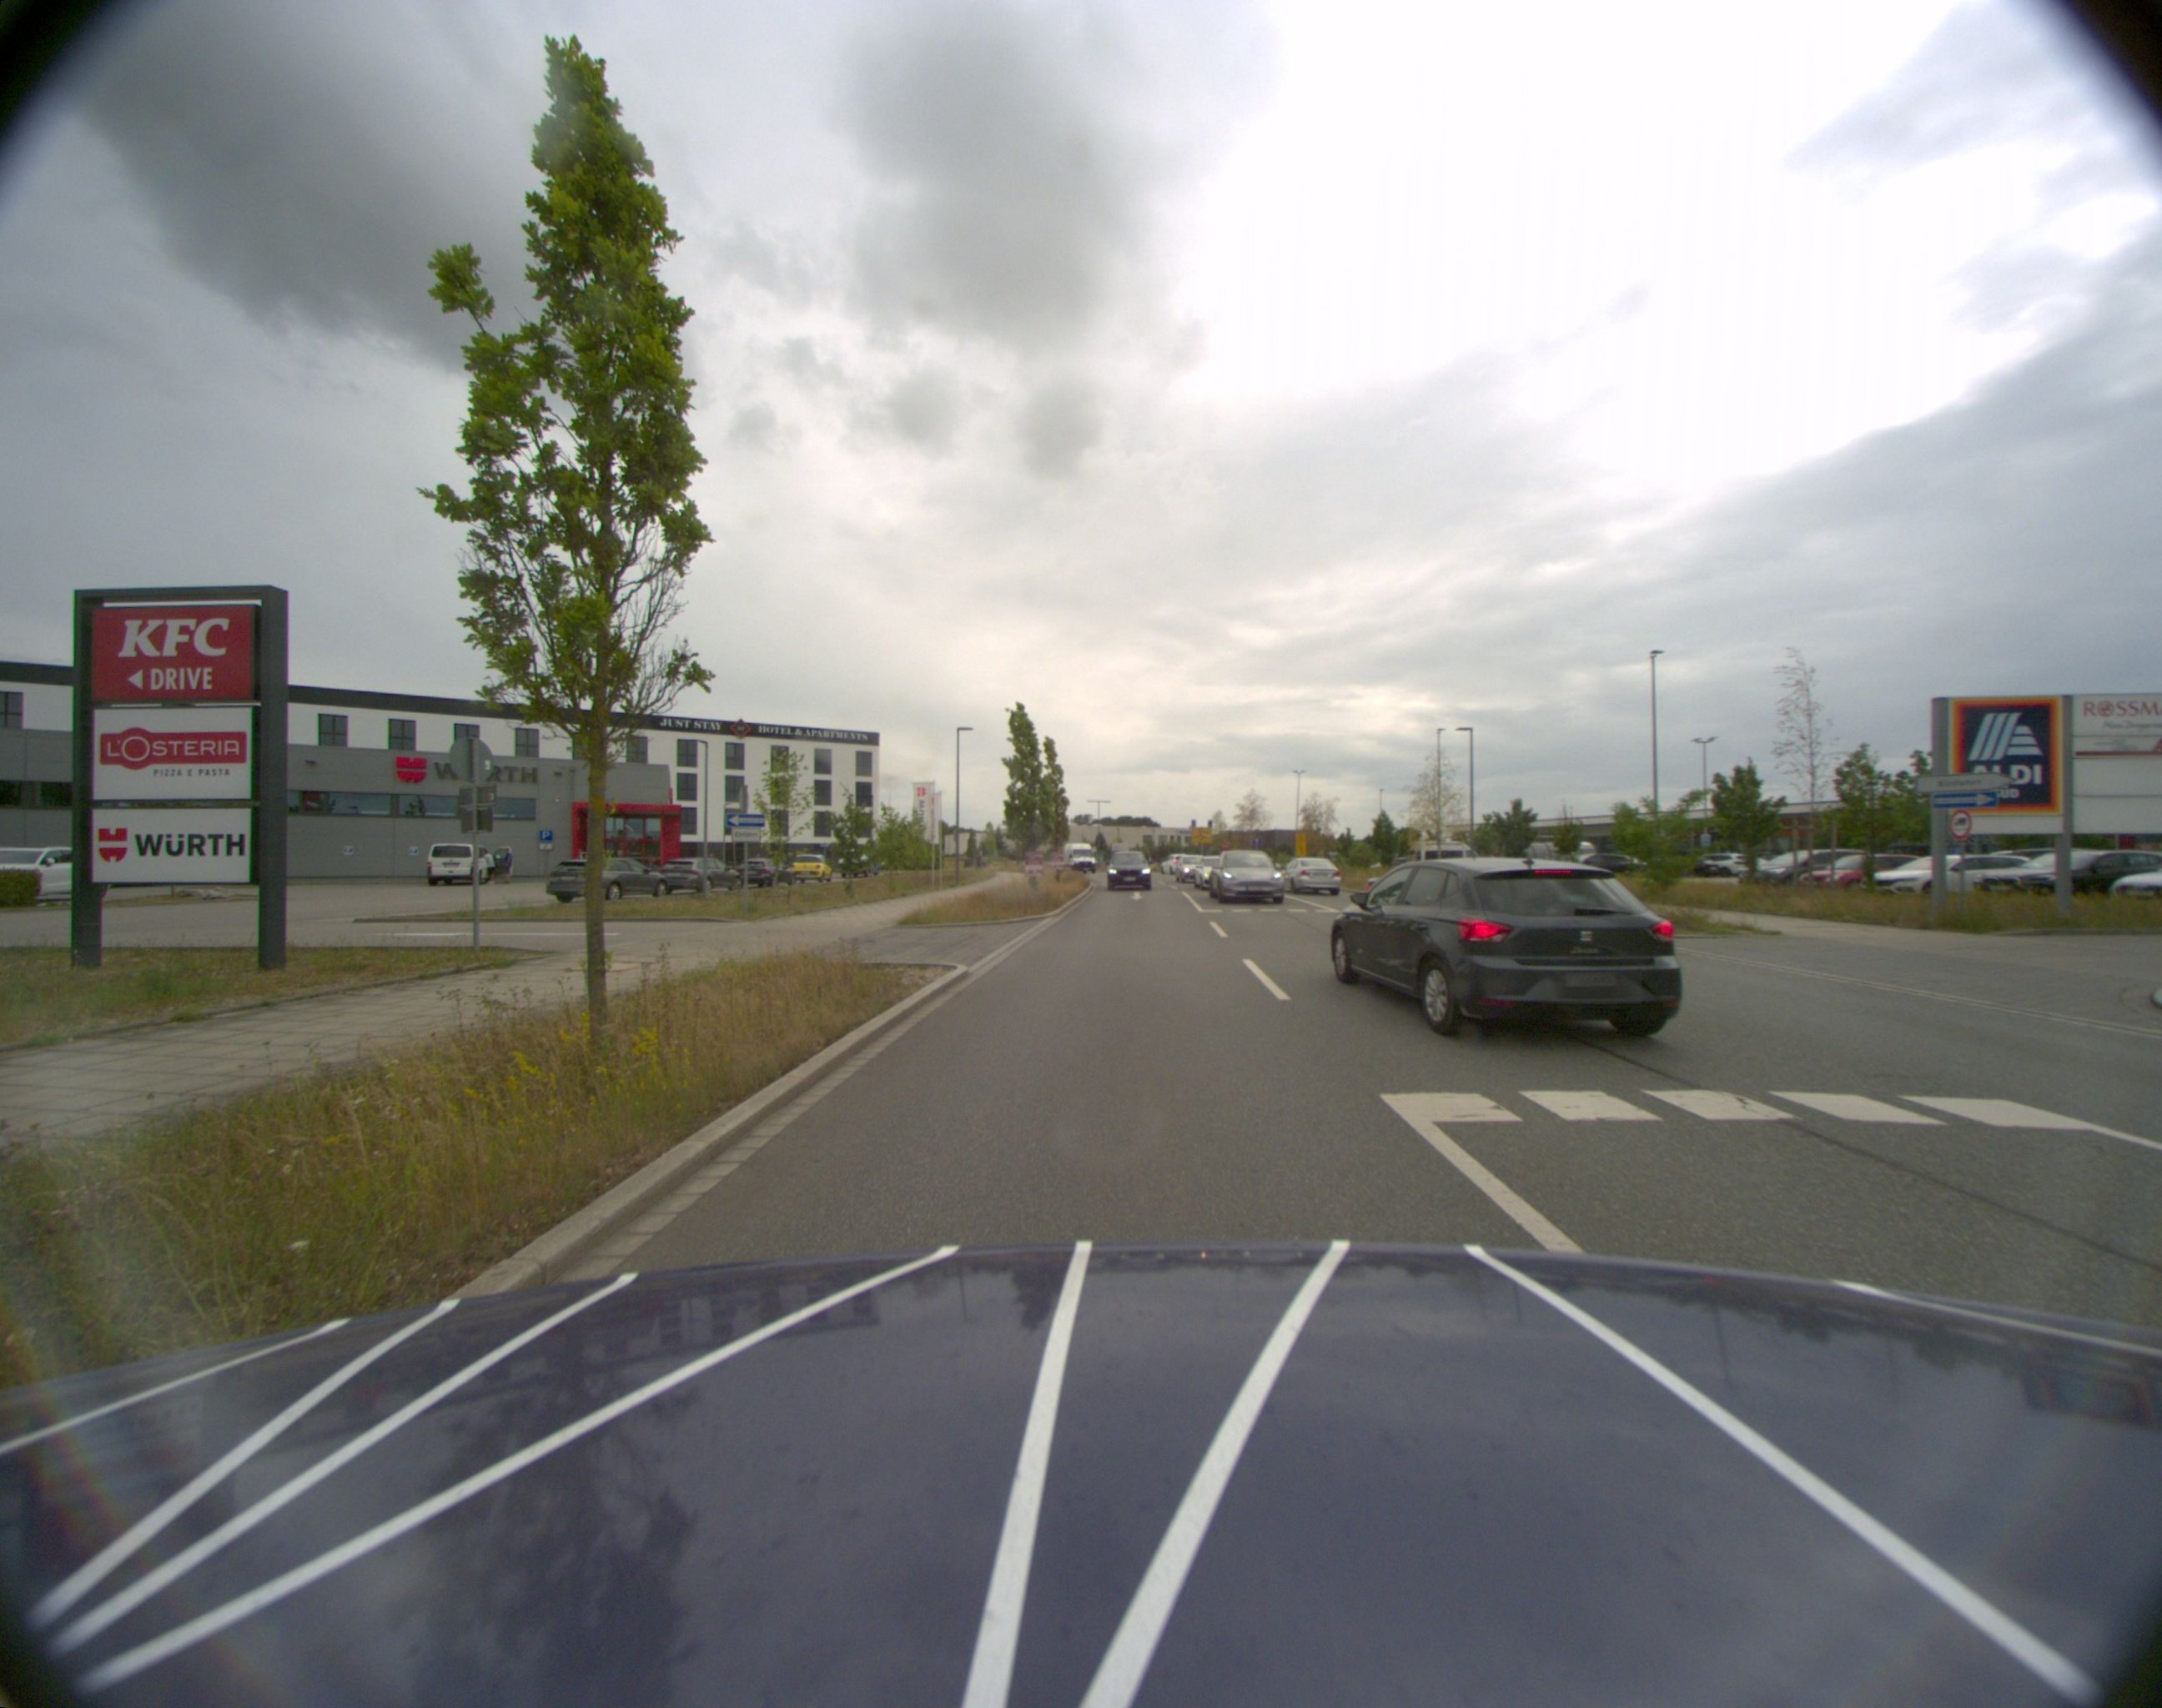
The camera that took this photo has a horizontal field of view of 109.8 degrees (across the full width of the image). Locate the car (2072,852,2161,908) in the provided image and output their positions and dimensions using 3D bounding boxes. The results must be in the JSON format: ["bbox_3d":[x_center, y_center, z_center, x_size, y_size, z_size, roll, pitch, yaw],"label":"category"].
[{"bbox_3d":[27.590,0.605,18.486,4.324,1.332,2.027,0,0,0],"label":"car"}]

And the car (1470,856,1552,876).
[{"bbox_3d":[28.698,0.793,50.798,4.336,1.297,2.011,0,0,-2],"label":"car"}]

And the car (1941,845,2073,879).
[{"bbox_3d":[53.076,0.449,43.680,2.246,1.863,4.299,0,0,-18],"label":"car"}]

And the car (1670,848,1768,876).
[{"bbox_3d":[44.348,0.534,53.014,2.160,1.888,4.920,0,0,-14],"label":"car"}]

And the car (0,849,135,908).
[{"bbox_3d":[-32.290,0.710,23.441,2.003,1.687,4.782,0,0,-26],"label":"car"}]

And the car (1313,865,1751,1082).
[{"bbox_3d":[3.750,0.860,7.359,1.834,1.412,4.246,-1,0,2],"label":"car"}]

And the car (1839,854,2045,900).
[{"bbox_3d":[27.918,0.729,24.761,4.329,1.448,2.011,0,0,2],"label":"car"}]

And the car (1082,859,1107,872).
[{"bbox_3d":[1.605,1.357,89.456,1.724,1.437,4.228,1,0,-17],"label":"car"}]

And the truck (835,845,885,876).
[{"bbox_3d":[-17.583,0.486,60.986,2.233,2.312,8.211,0,0,-5],"label":"truck"}]

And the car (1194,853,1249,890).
[{"bbox_3d":[6.034,0.718,33.164,1.884,1.460,4.194,0,1,4],"label":"car"}]

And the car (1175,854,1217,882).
[{"bbox_3d":[6.200,0.713,41.195,1.706,1.429,4.032,0,0,1],"label":"car"}]

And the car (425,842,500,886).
[{"bbox_3d":[-30.173,0.457,37.194,2.003,1.976,4.625,0,0,-29],"label":"car"}]

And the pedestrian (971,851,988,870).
[{"bbox_3d":[-9.765,0.621,73.281,1.071,1.847,1.197,2,2,37],"label":"pedestrian"}]

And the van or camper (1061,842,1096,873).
[{"bbox_3d":[-0.280,0.280,66.274,2.266,2.601,5.692,0,0,-9],"label":"van or camper"}]

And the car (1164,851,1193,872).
[{"bbox_3d":[7.869,0.566,61.631,1.998,1.627,4.703,2,0,3],"label":"car"}]

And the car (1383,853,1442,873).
[{"bbox_3d":[27.114,0.725,62.192,3.955,1.624,2.084,0,0,-4],"label":"car"}]

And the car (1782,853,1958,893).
[{"bbox_3d":[28.147,0.659,27.234,4.093,1.383,2.001,0,0,5],"label":"car"}]

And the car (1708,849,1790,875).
[{"bbox_3d":[46.848,0.527,53.359,1.780,1.762,3.994,-1,1,-15],"label":"car"}]

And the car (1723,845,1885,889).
[{"bbox_3d":[28.234,0.496,29.784,4.311,1.645,2.081,0,0,1],"label":"car"}]

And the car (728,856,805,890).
[{"bbox_3d":[-15.552,0.882,37.867,1.999,1.488,4.606,0,1,-2],"label":"car"}]

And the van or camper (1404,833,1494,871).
[{"bbox_3d":[27.798,-0.175,57.497,5.870,2.784,2.242,0,1,-6],"label":"van or camper"}]

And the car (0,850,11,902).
[{"bbox_3d":[-34.734,0.696,22.263,2.137,1.668,4.528,0,0,-29],"label":"car"}]

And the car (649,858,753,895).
[{"bbox_3d":[-15.628,0.866,31.569,1.868,1.428,4.880,0,0,0],"label":"car"}]

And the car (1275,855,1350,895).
[{"bbox_3d":[9.233,0.792,30.711,1.840,1.409,4.500,1,0,3],"label":"car"}]

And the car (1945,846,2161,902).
[{"bbox_3d":[27.891,0.538,21.424,4.375,1.496,2.240,0,0,4],"label":"car"}]

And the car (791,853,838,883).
[{"bbox_3d":[-15.467,0.769,44.321,1.768,1.676,4.408,0,0,-9],"label":"car"}]

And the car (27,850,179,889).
[{"bbox_3d":[-41.257,0.609,32.237,2.084,1.510,4.566,1,0,-25],"label":"car"}]

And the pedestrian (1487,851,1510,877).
[{"bbox_3d":[30.732,0.724,55.960,1.011,1.879,1.113,0,0,-10],"label":"pedestrian"}]

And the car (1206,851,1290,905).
[{"bbox_3d":[5.248,0.708,24.438,1.998,1.552,4.614,0,0,4],"label":"car"}]

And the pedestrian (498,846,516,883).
[{"bbox_3d":[-28.856,0.518,38.185,0.615,1.857,0.800,-1,0,-32],"label":"pedestrian"}]

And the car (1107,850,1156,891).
[{"bbox_3d":[2.159,0.693,33.454,1.998,1.654,4.000,-1,0,2],"label":"car"}]

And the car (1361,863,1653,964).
[{"bbox_3d":[7.382,0.915,13.411,4.218,1.429,1.778,1,1,40],"label":"car"}]

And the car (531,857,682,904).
[{"bbox_3d":[-15.954,0.837,25.923,1.966,1.451,4.832,0,0,2],"label":"car"}]
